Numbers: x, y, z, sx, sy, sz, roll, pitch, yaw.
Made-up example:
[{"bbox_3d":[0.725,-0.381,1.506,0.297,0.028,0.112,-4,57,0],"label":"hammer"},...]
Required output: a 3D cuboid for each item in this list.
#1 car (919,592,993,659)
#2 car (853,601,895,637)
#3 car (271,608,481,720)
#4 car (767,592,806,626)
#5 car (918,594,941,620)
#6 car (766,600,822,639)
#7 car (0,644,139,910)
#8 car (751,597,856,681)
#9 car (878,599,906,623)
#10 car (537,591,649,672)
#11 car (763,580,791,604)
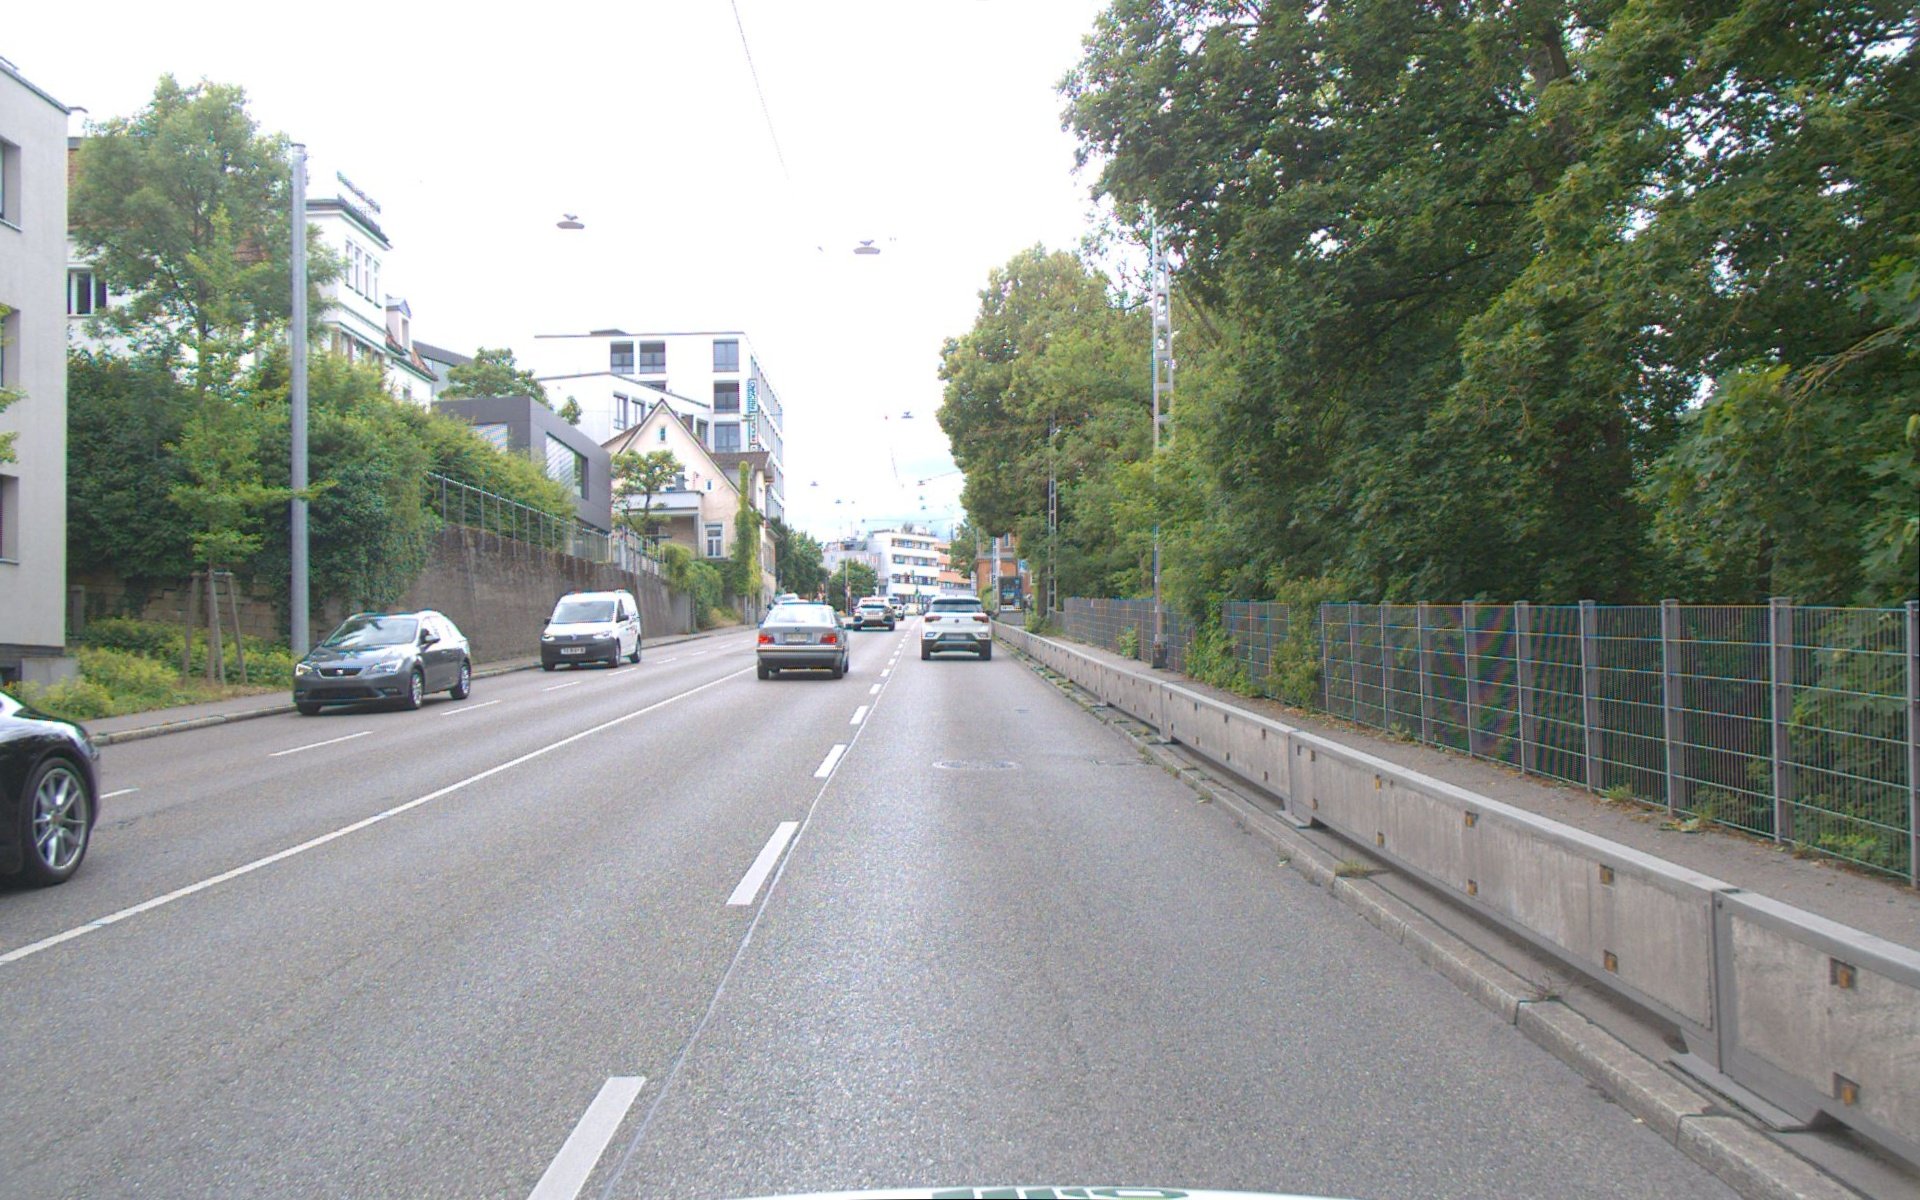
[{"bbox_3d":[-0.136,0.606,41.826,1.744,1.607,3.998,0,0,-2],"label":"car"},{"bbox_3d":[-3.749,0.816,72.632,1.672,1.489,3.999,-1,0,-1],"label":"car"},{"bbox_3d":[-8.936,0.918,25.709,1.697,1.489,4.423,-2,0,-1],"label":"car"},{"bbox_3d":[-9.979,0.496,95.277,1.779,1.815,4.494,-2,0,-1],"label":"car"},{"bbox_3d":[-2.129,0.474,116.188,1.623,1.796,3.286,0,0,-1],"label":"car"},{"bbox_3d":[-6.573,0.755,65.698,1.779,1.410,4.461,-3,0,-1],"label":"car"},{"bbox_3d":[-5.677,0.939,7.615,1.718,1.291,4.190,-2,0,-1],"label":"car"},{"bbox_3d":[-2.938,0.693,31.725,1.672,1.489,3.999,-1,0,-1],"label":"car"},{"bbox_3d":[-4.235,0.672,103.476,1.672,1.489,3.999,-1,0,-1],"label":"car"},{"bbox_3d":[-8.977,0.721,40.834,1.697,1.819,4.866,-2,0,-1],"label":"car"},{"bbox_3d":[-13.658,-0.580,123.507,1.955,1.731,3.996,-1,0,-5],"label":"car"}]
